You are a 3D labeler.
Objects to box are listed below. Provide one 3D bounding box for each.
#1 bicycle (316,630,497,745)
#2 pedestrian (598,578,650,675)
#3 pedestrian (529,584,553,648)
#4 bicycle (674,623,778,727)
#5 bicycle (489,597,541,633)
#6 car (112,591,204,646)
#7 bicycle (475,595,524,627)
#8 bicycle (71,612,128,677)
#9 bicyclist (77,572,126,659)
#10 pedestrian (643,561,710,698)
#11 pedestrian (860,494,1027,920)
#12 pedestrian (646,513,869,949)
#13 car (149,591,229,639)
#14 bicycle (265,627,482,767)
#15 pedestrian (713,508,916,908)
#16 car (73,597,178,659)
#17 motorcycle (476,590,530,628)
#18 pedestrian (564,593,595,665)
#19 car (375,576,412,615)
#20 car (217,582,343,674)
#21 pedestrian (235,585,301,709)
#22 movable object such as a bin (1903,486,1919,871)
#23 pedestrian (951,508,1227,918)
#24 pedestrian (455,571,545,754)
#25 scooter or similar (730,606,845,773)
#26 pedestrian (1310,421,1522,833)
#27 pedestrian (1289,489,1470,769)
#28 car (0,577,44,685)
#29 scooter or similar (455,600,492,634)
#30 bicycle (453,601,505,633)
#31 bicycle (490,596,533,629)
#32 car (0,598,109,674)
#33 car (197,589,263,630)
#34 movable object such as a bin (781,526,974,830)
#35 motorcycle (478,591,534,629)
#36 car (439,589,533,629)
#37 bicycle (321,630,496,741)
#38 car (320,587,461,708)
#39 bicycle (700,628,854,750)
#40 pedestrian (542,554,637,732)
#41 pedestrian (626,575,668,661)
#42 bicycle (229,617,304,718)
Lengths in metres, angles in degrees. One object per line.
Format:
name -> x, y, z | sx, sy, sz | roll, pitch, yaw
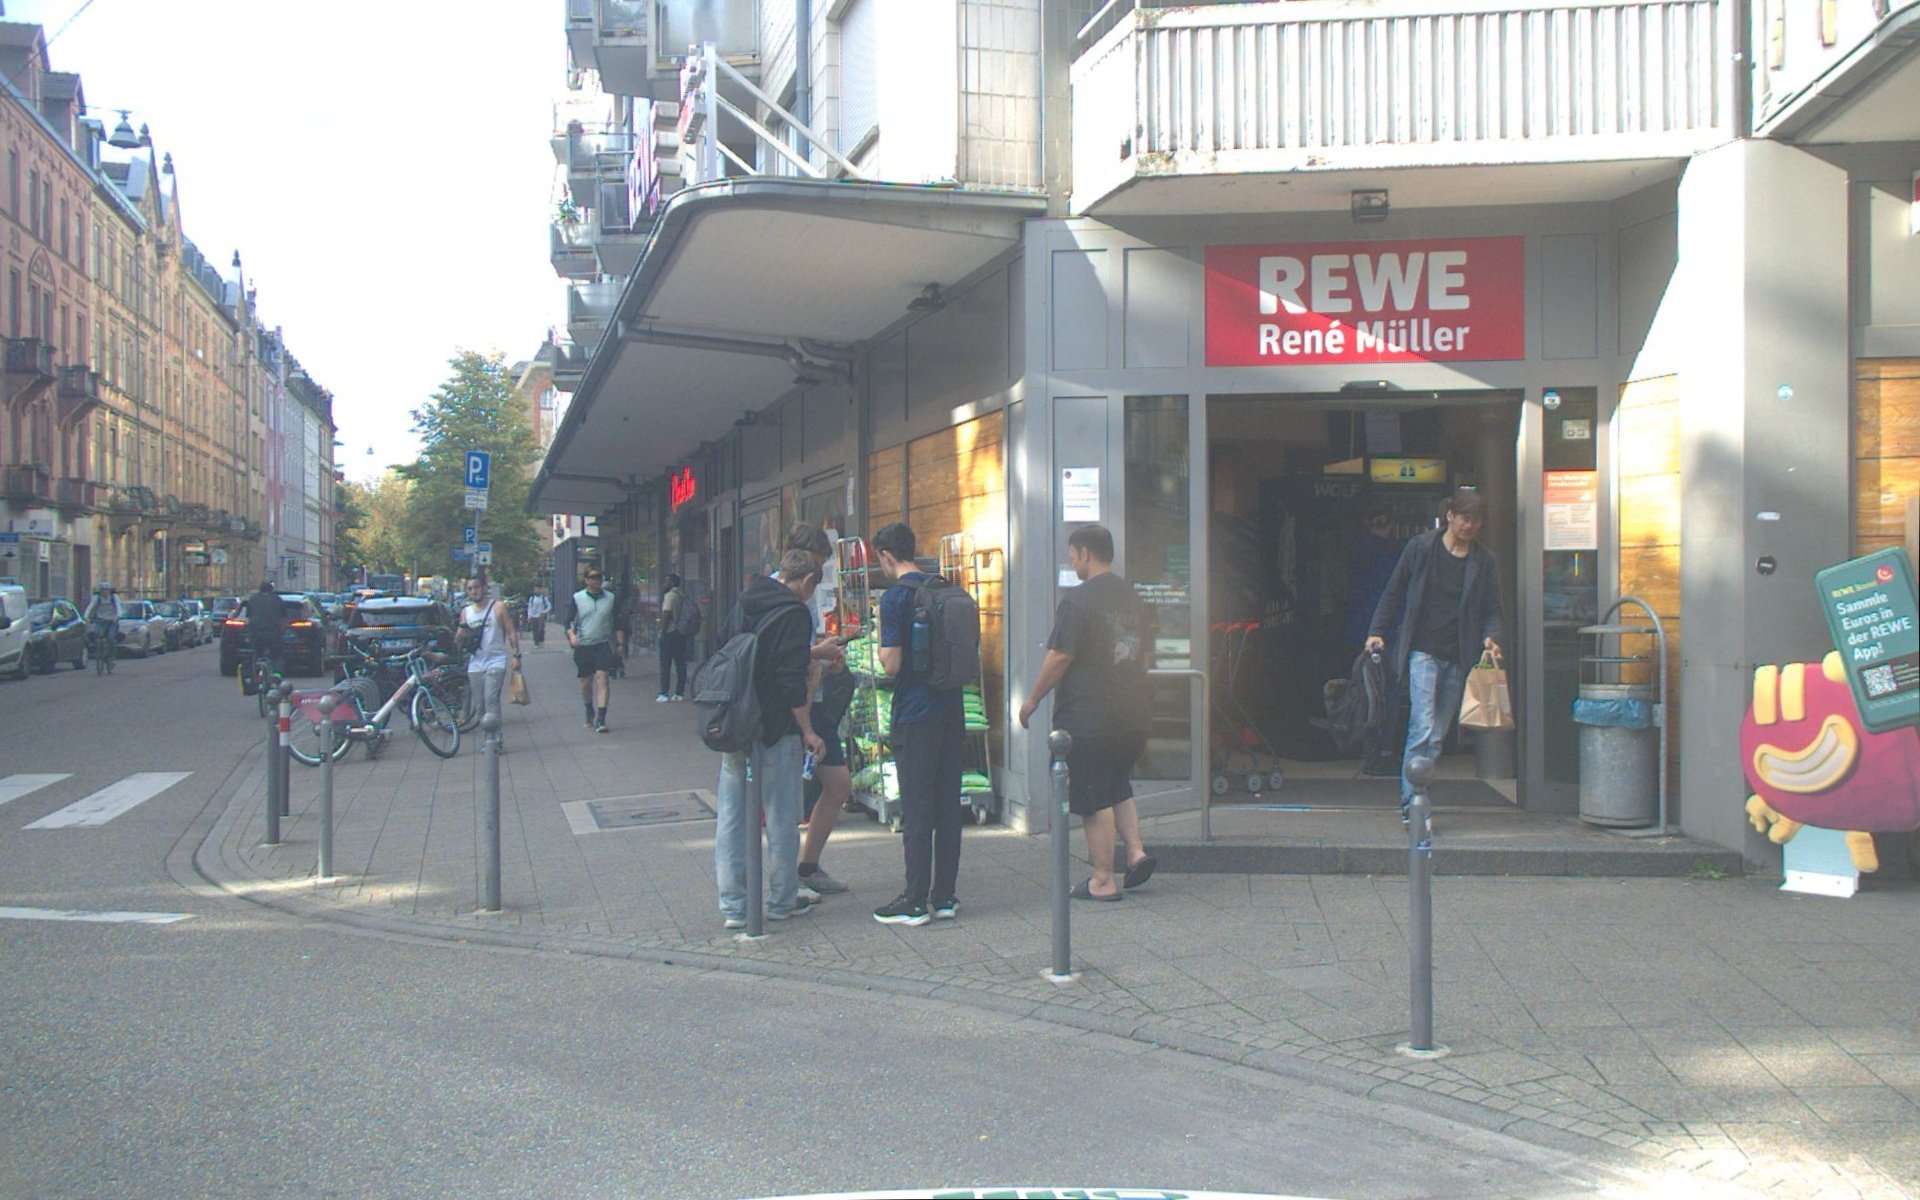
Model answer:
bicycle -> -5.995, 0.930, 17.935 | 1.766, 1.089, 0.564 | -3, 2, -27
pedestrian -> -5.740, 0.445, 28.256 | 0.810, 1.616, 0.777 | -1, 0, -15
pedestrian -> -11.815, 0.427, 46.604 | 0.602, 1.756, 1.122 | -1, 1, -15
bicycle -> -2.625, 0.801, 18.370 | 0.731, 1.032, 1.772 | -3, 1, -21
bicycle -> -16.057, 0.539, 59.673 | 1.736, 1.182, 0.648 | -3, 1, -15
car -> -23.645, 0.505, 48.895 | 1.713, 1.509, 3.967 | 1, 0, -16
bicycle -> -18.282, 0.443, 65.642 | 1.756, 1.179, 0.501 | -2, 1, 10
bicycle -> -17.226, 0.874, 33.147 | 0.690, 1.241, 2.105 | 1, 0, -19
bicyclist -> -17.273, 0.308, 33.286 | 0.690, 1.707, 1.106 | 1, 0, -19
pedestrian -> -3.816, 0.380, 22.228 | 0.703, 1.777, 0.813 | -3, 1, -18
pedestrian -> -0.090, 0.456, 7.555 | 0.640, 1.828, 0.658 | -3, 2, -4
pedestrian -> -0.890, 0.546, 7.393 | 0.618, 1.828, 0.715 | -2, 2, 25
car -> -24.627, 0.462, 52.926 | 1.662, 1.411, 3.851 | 1, 0, -16
bicycle -> -5.573, 0.900, 15.815 | 1.854, 1.145, 0.903 | -3, 1, -19
pedestrian -> -0.686, 0.492, 7.941 | 0.697, 1.828, 0.633 | -2, 2, 16
car -> -22.240, 0.721, 44.203 | 1.713, 1.509, 3.967 | 1, 0, -16
motorcycle -> -19.721, 0.387, 71.380 | 2.113, 1.557, 0.684 | -3, 1, -12
pedestrian -> -8.827, 0.655, 38.342 | 0.633, 1.616, 0.777 | -2, 1, -15
car -> -30.872, -0.239, 90.176 | 1.754, 2.055, 3.869 | 1, 0, -17
car -> -13.962, 0.548, 34.160 | 1.933, 1.771, 4.024 | 0, 0, -16
pedestrian -> -9.607, 0.634, 22.988 | 0.706, 1.679, 0.926 | 1, 0, -16
movable object such as a bin -> 5.175, 0.369, 7.383 | 1.511, 1.785, 0.691 | 0, 2, 6
pedestrian -> 0.595, 0.483, 7.903 | 0.839, 1.777, 1.040 | -3, 1, -27
pedestrian -> -4.473, 0.592, 16.040 | 0.789, 1.700, 1.017 | -1, -1, -18
scooter or similar -> -1.409, 0.684, 13.337 | 0.622, 1.234, 1.249 | -2, 1, -19
pedestrian -> 2.417, 0.127, 8.784 | 1.009, 2.048, 0.864 | -1, 2, 16
pedestrian -> 2.789, 0.174, 11.044 | 0.913, 1.784, 0.762 | 0, 0, -18
car -> -18.242, 0.541, 30.049 | 1.889, 1.904, 4.416 | 0, 1, -17
scooter or similar -> -17.340, 0.606, 58.927 | 1.180, 1.167, 0.379 | -2, 2, 15
bicycle -> -17.373, 0.617, 59.695 | 1.741, 1.075, 0.409 | -3, 1, -22
bicycle -> -16.651, 0.462, 61.396 | 1.471, 1.166, 0.409 | -3, 1, -17
car -> -19.519, 0.733, 35.252 | 1.714, 1.509, 3.964 | 2, -1, -17
car -> -26.872, 0.315, 60.958 | 1.662, 1.411, 3.851 | 1, 0, -16
movable object such as a bin -> -0.608, 0.446, 10.939 | 0.767, 1.775, 2.413 | 0, 0, -15
motorcycle -> -18.797, 0.406, 68.491 | 2.113, 1.459, 0.763 | -3, 1, -12
car -> -20.963, 0.393, 73.170 | 3.716, 1.573, 1.716 | -3, 0, -27
bicycle -> -6.170, 0.939, 18.541 | 1.766, 1.089, 0.582 | -3, 2, -27
car -> -8.820, 0.667, 25.888 | 1.763, 1.633, 3.907 | -3, 1, -16
bicycle -> -1.731, 0.801, 15.441 | 0.670, 1.061, 1.712 | -1, -1, -36
pedestrian -> -4.070, 0.449, 18.232 | 0.868, 1.866, 1.045 | -2, 1, -9
pedestrian -> -6.936, 0.387, 36.666 | 0.692, 1.893, 0.645 | 0, 0, 12
bicycle -> -9.593, 0.912, 22.935 | 0.706, 1.296, 1.876 | 1, 0, -15
